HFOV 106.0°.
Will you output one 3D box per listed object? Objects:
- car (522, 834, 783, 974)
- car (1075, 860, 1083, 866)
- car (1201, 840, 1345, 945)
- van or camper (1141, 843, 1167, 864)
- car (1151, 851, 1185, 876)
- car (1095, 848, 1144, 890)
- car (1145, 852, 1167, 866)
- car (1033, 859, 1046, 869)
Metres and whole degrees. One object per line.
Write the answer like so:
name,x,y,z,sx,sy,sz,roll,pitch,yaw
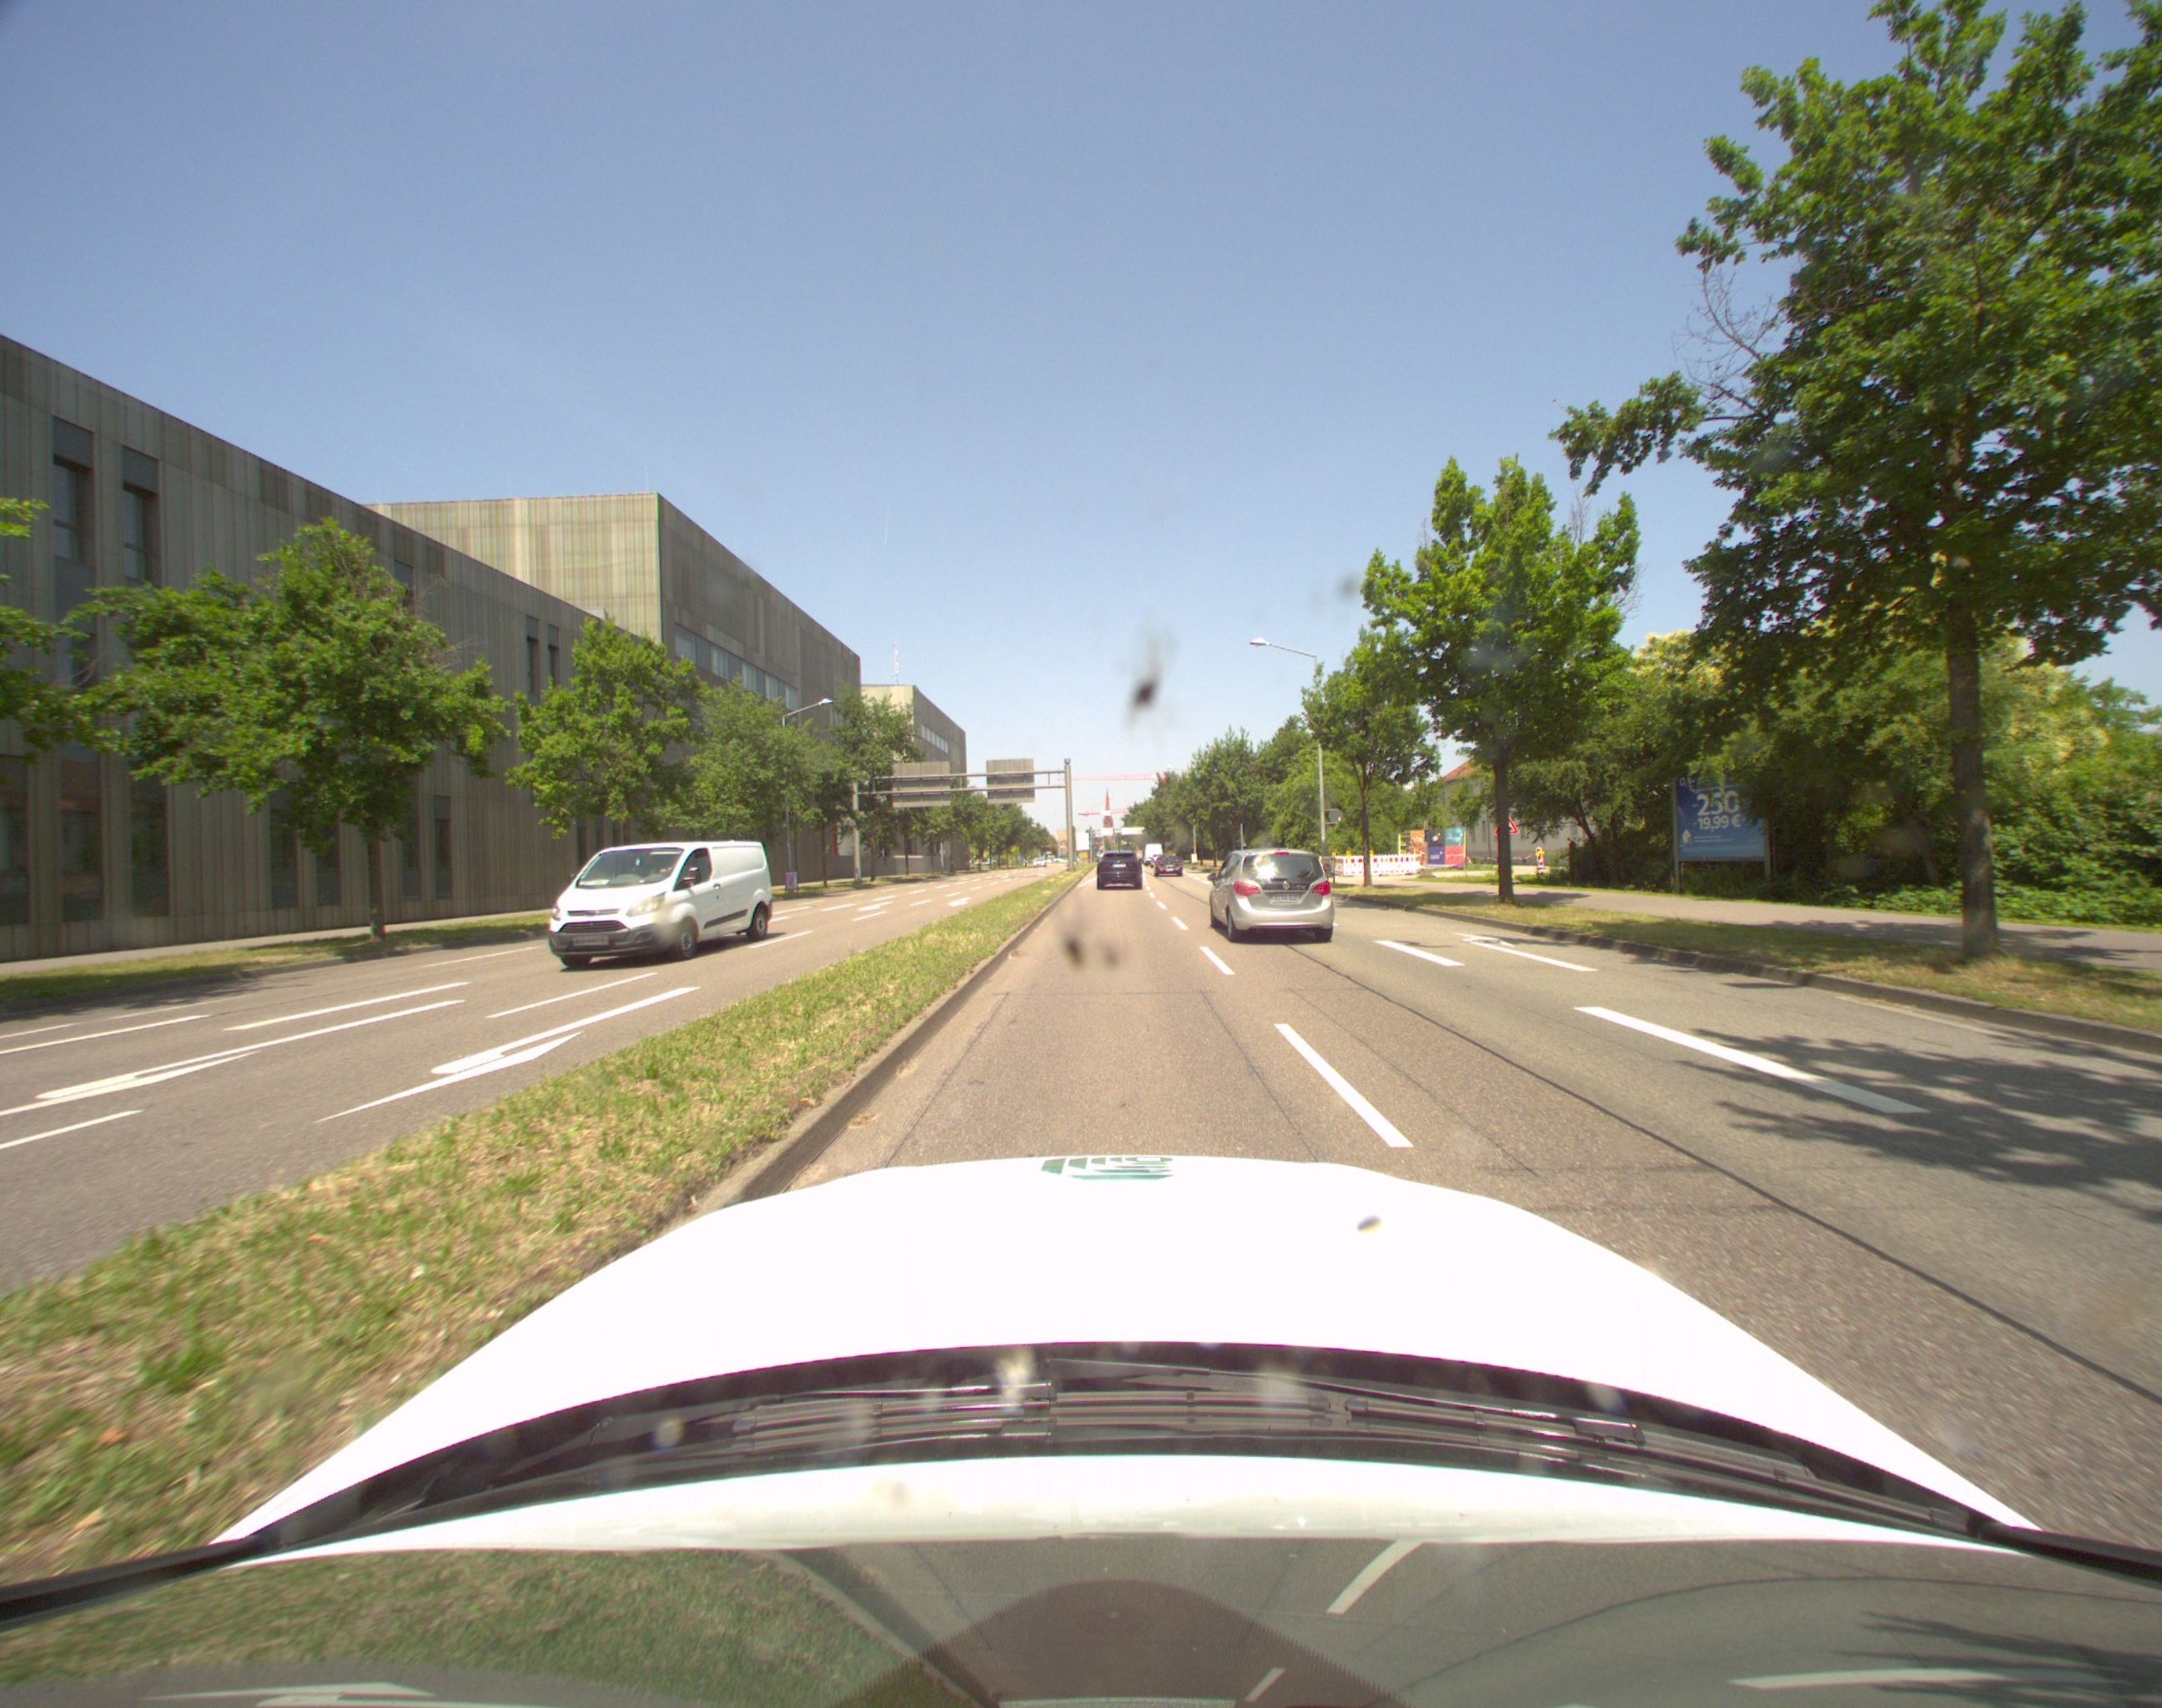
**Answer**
car,-7.297,0.752,14.623,1.902,1.993,4.899,-3,0,1
car,-0.491,2.284,206.685,1.702,1.472,3.940,-3,0,0
car,3.373,0.618,15.041,1.786,1.612,3.892,-2,0,1
van or camper,8.506,-0.019,94.906,2.485,2.291,4.920,-2,-1,0
car,5.629,0.610,53.069,2.005,1.517,4.465,-2,-1,4
car,1.700,0.623,35.515,1.989,1.689,4.037,-1,0,3
car,7.769,0.567,84.569,1.650,1.356,4.457,-2,-1,-2
car,-6.722,1.550,131.147,1.804,1.427,4.358,-3,0,0
